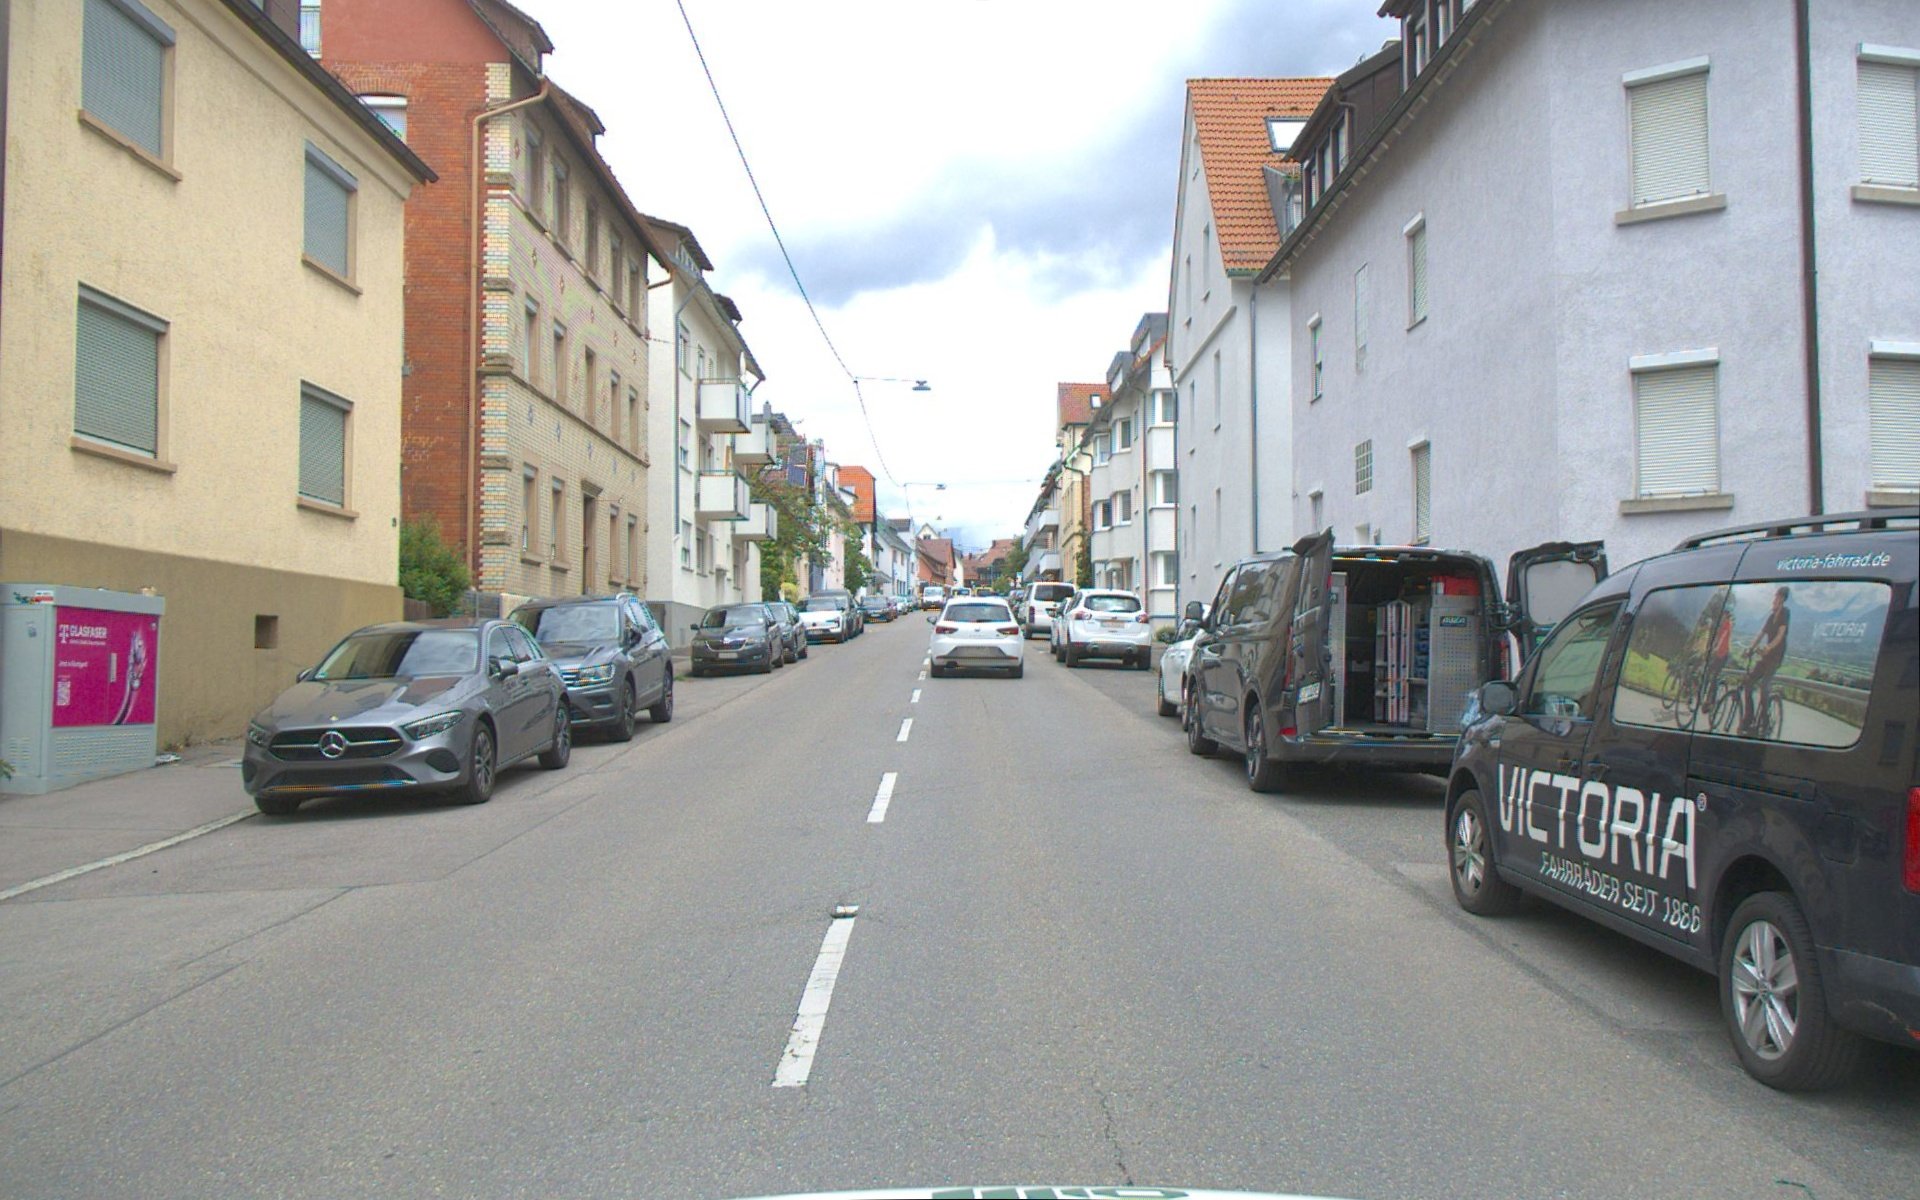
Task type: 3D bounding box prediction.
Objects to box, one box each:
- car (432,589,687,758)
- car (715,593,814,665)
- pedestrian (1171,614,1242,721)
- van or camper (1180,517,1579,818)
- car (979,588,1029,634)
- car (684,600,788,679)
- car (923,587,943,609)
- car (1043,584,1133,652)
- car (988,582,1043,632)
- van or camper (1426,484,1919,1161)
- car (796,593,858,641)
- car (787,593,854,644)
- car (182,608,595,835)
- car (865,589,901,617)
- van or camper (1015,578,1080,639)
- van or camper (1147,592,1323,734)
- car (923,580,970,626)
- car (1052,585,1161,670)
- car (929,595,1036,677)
[{"bbox_3d":[-4.635,0.770,19.868,1.953,1.679,4.552,-3,0,-1],"label":"car"},{"bbox_3d":[-4.730,0.665,40.540,1.953,1.680,4.000,0,0,0],"label":"car"},{"bbox_3d":[4.336,1.172,29.156,0.956,1.769,1.533,-3,0,1],"label":"pedestrian"},{"bbox_3d":[3.355,0.469,14.627,1.953,2.102,5.943,1,0,-1],"label":"van or camper"},{"bbox_3d":[1.984,0.485,76.002,1.954,2.049,3.997,-1,0,-3],"label":"car"},{"bbox_3d":[-4.733,0.797,35.443,1.608,1.499,4.178,-3,0,0],"label":"car"},{"bbox_3d":[-2.628,-0.198,162.318,1.953,2.049,4.000,-1,0,0],"label":"car"},{"bbox_3d":[3.318,0.448,43.619,1.902,1.722,3.998,0,0,-2],"label":"car"},{"bbox_3d":[2.298,0.283,69.496,1.954,2.049,3.997,-1,0,-3],"label":"car"},{"bbox_3d":[3.537,0.626,6.786,1.833,1.860,4.679,2,0,-1],"label":"van or camper"},{"bbox_3d":[-4.878,0.602,61.123,1.953,1.680,4.000,0,0,0],"label":"car"},{"bbox_3d":[-4.694,0.596,56.218,1.953,1.680,4.000,0,0,0],"label":"car"},{"bbox_3d":[-4.659,0.904,14.251,1.953,1.498,4.244,-3,0,1],"label":"car"},{"bbox_3d":[-4.631,0.176,99.709,1.953,1.680,4.178,0,0,0],"label":"car"},{"bbox_3d":[3.062,0.286,58.852,1.902,2.090,4.561,0,0,-2],"label":"van or camper"},{"bbox_3d":[3.368,0.708,20.889,1.569,1.570,4.000,2,0,1],"label":"van or camper"},{"bbox_3d":[-0.642,0.144,77.517,2.109,2.049,3.999,1,0,-1],"label":"car"},{"bbox_3d":[3.190,0.562,36.696,1.901,1.722,3.999,2,0,-2],"label":"car"},{"bbox_3d":[0.388,0.634,31.442,1.901,1.464,4.000,0,0,0],"label":"car"}]
